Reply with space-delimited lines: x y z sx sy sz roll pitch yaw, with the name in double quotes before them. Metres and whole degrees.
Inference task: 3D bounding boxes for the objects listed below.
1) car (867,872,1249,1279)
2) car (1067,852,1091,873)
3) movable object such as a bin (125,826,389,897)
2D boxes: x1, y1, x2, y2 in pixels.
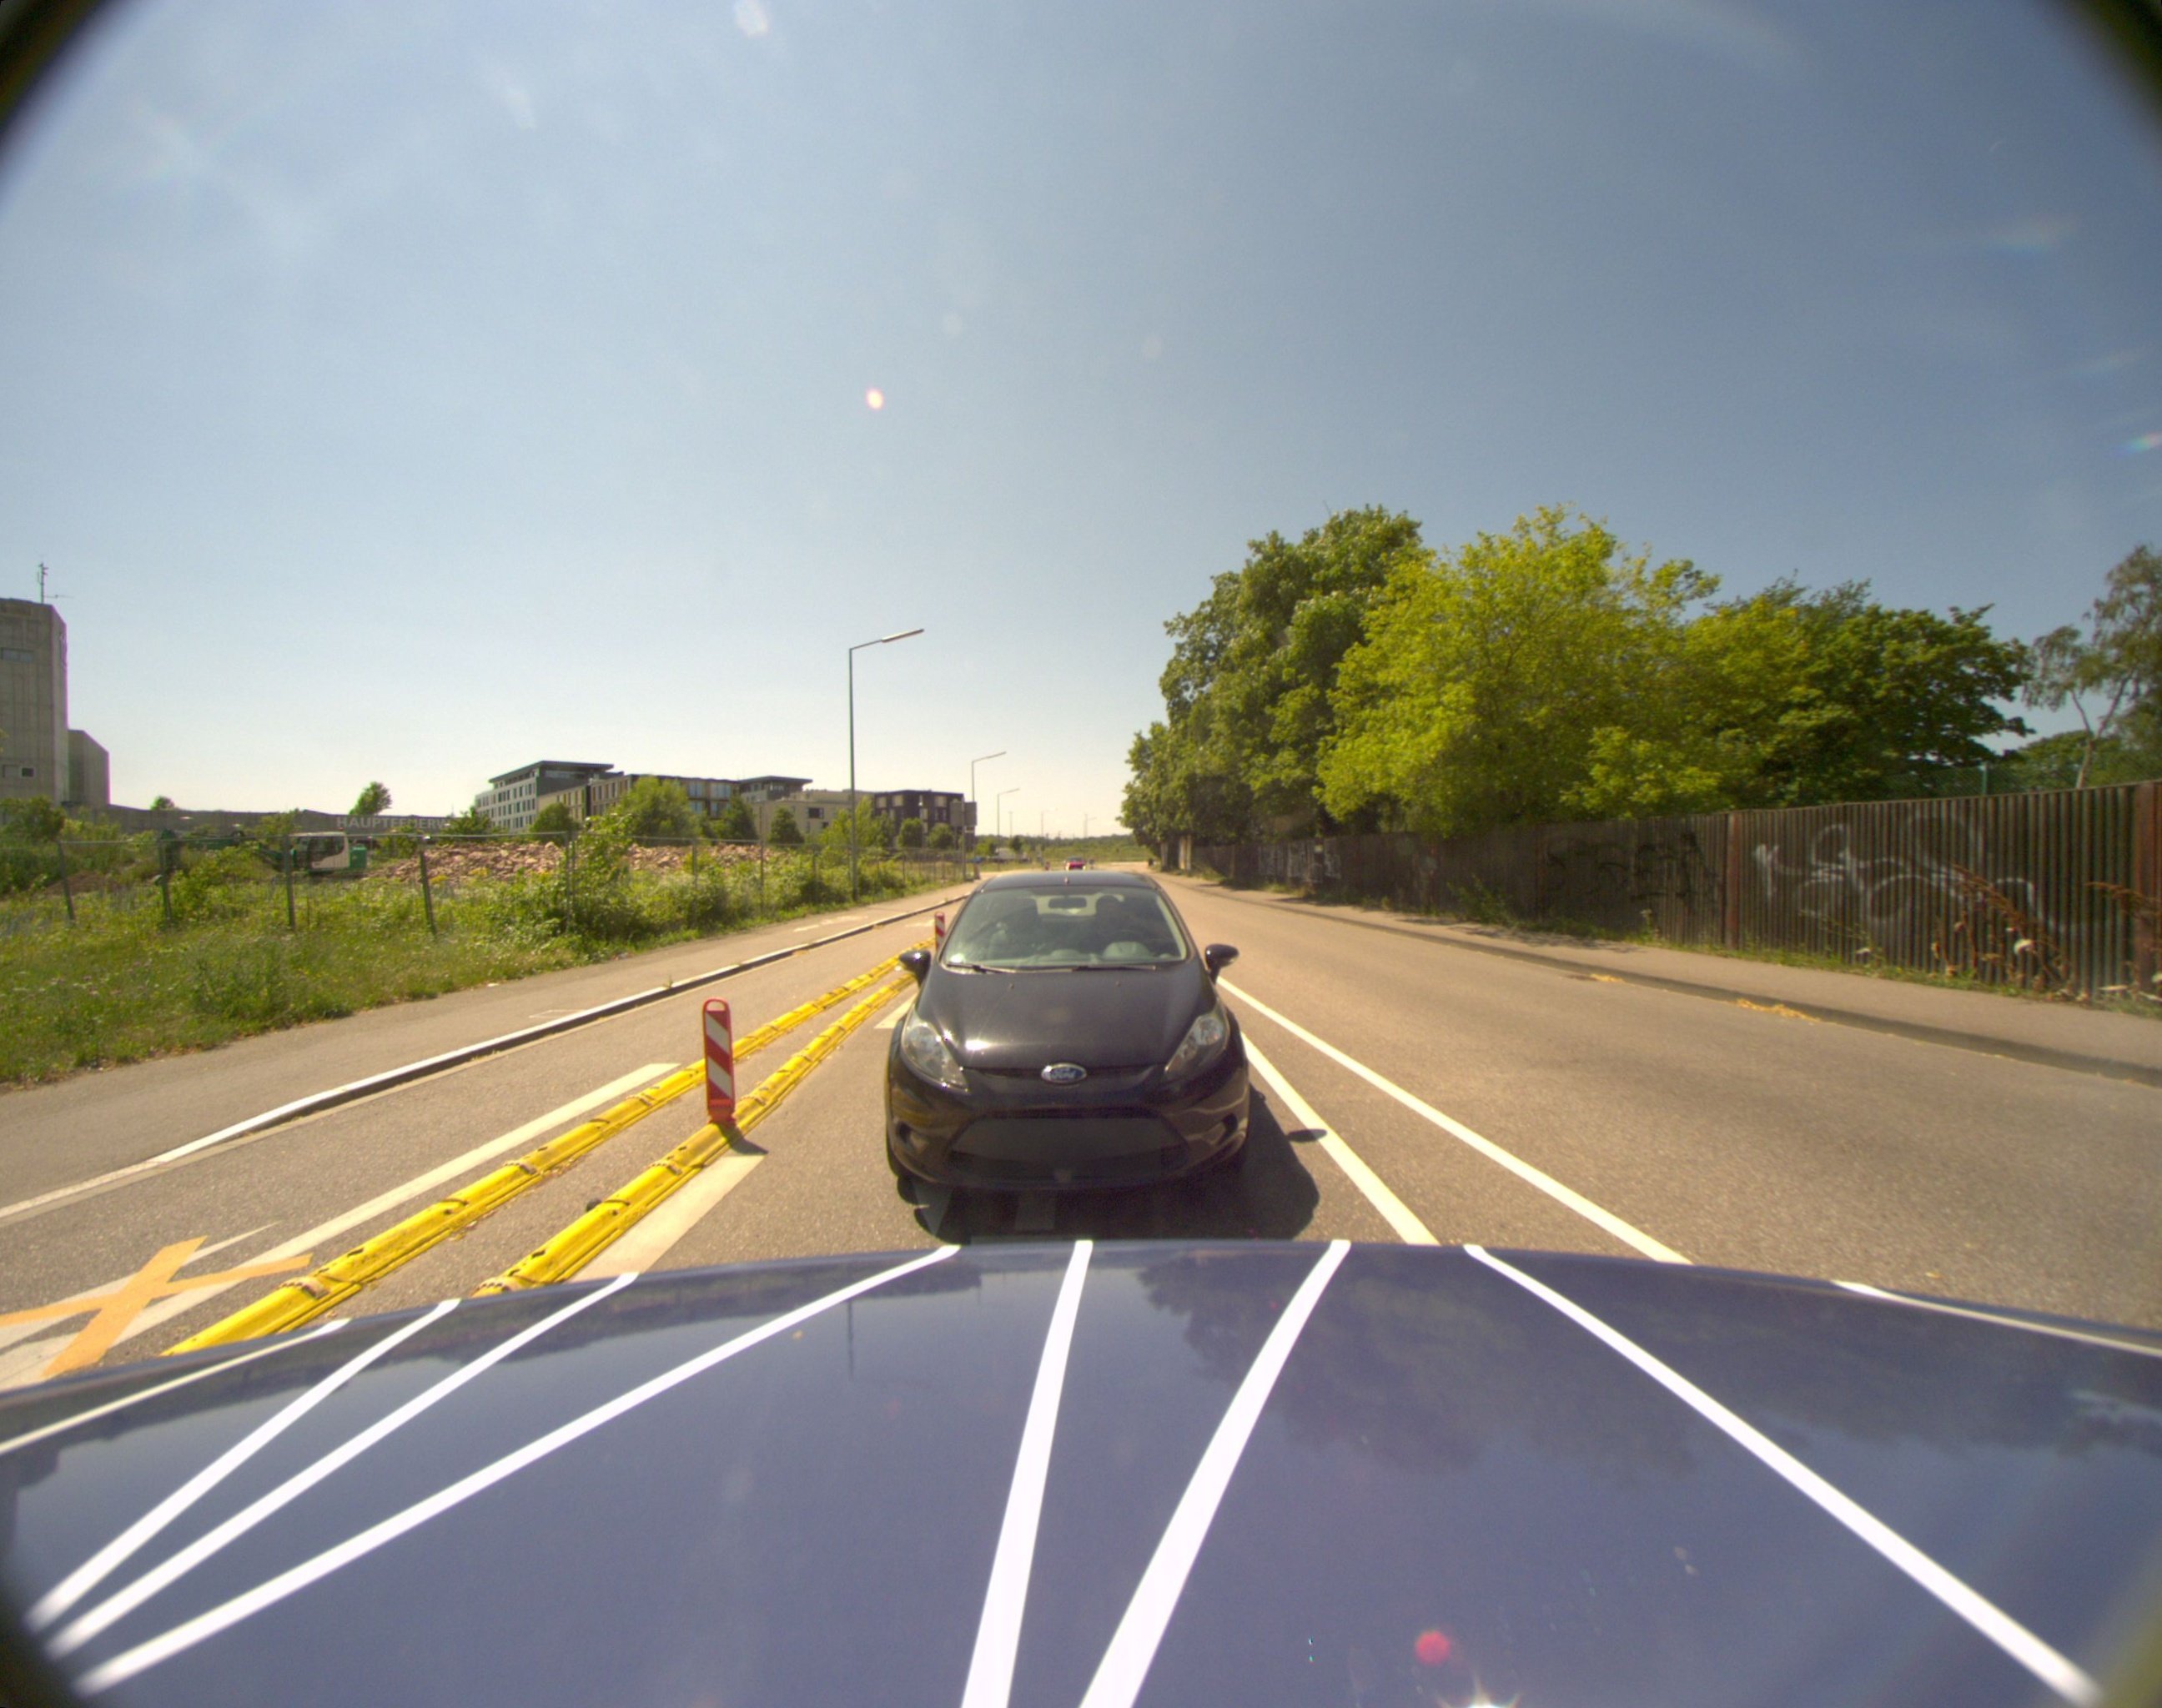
"car" -0.067 0.973 5.157 1.528 1.510 3.999 -2 1 1
"car" -0.151 0.703 65.138 1.924 1.643 4.668 -2 1 1
"movable object such as a bin" -38.357 0.257 35.907 3.231 2.899 7.702 -2 1 15
